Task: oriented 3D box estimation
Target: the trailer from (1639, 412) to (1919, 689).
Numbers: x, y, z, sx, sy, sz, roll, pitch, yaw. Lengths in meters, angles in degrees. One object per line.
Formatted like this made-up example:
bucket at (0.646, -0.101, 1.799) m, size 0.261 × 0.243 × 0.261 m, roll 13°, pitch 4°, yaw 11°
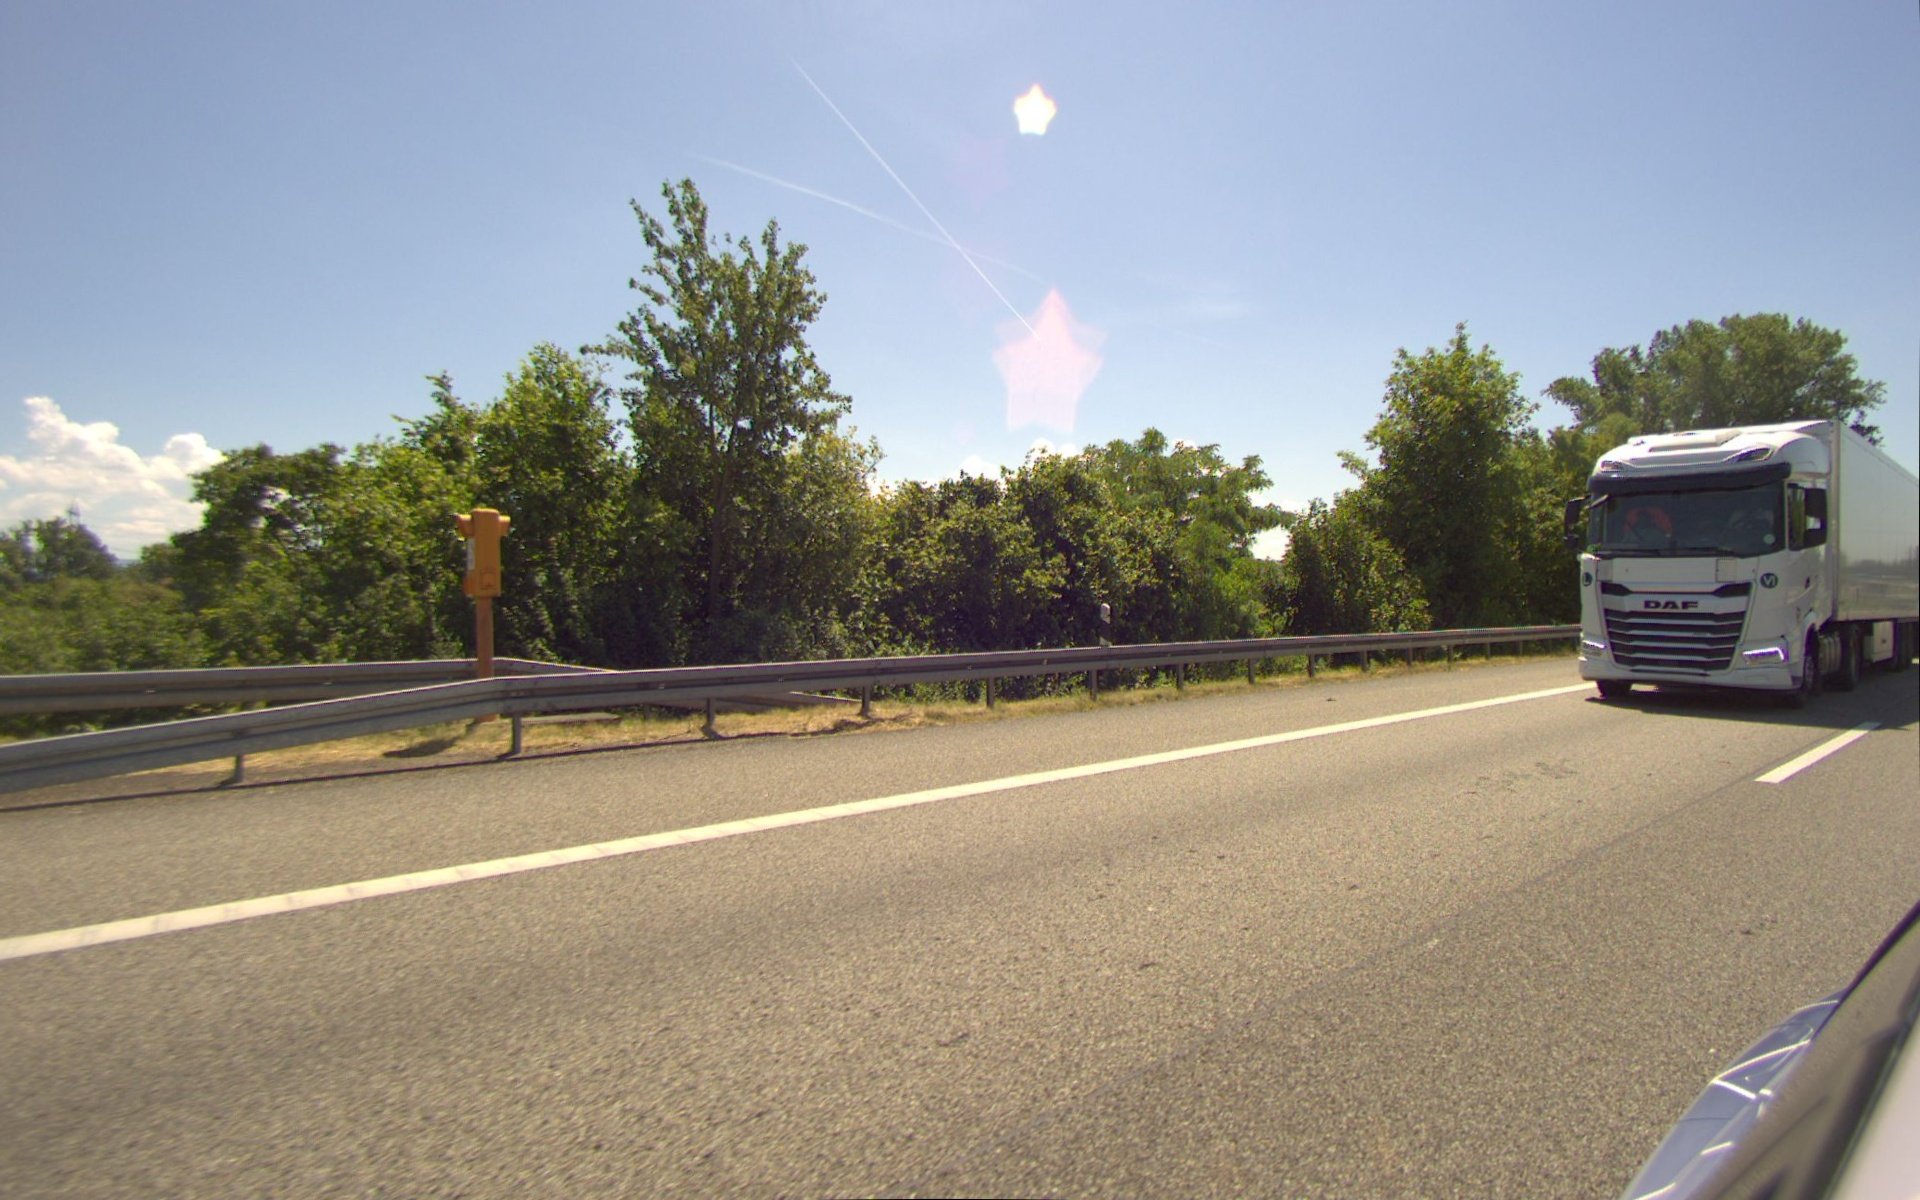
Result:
trailer at (17.332, -0.798, 20.360) m, size 12.313 × 4.158 × 2.964 m, roll -1°, pitch 0°, yaw -41°

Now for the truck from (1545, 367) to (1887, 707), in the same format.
truck at (11.744, -0.801, 15.523) m, size 6.098 × 4.158 × 2.964 m, roll 0°, pitch 0°, yaw -41°
